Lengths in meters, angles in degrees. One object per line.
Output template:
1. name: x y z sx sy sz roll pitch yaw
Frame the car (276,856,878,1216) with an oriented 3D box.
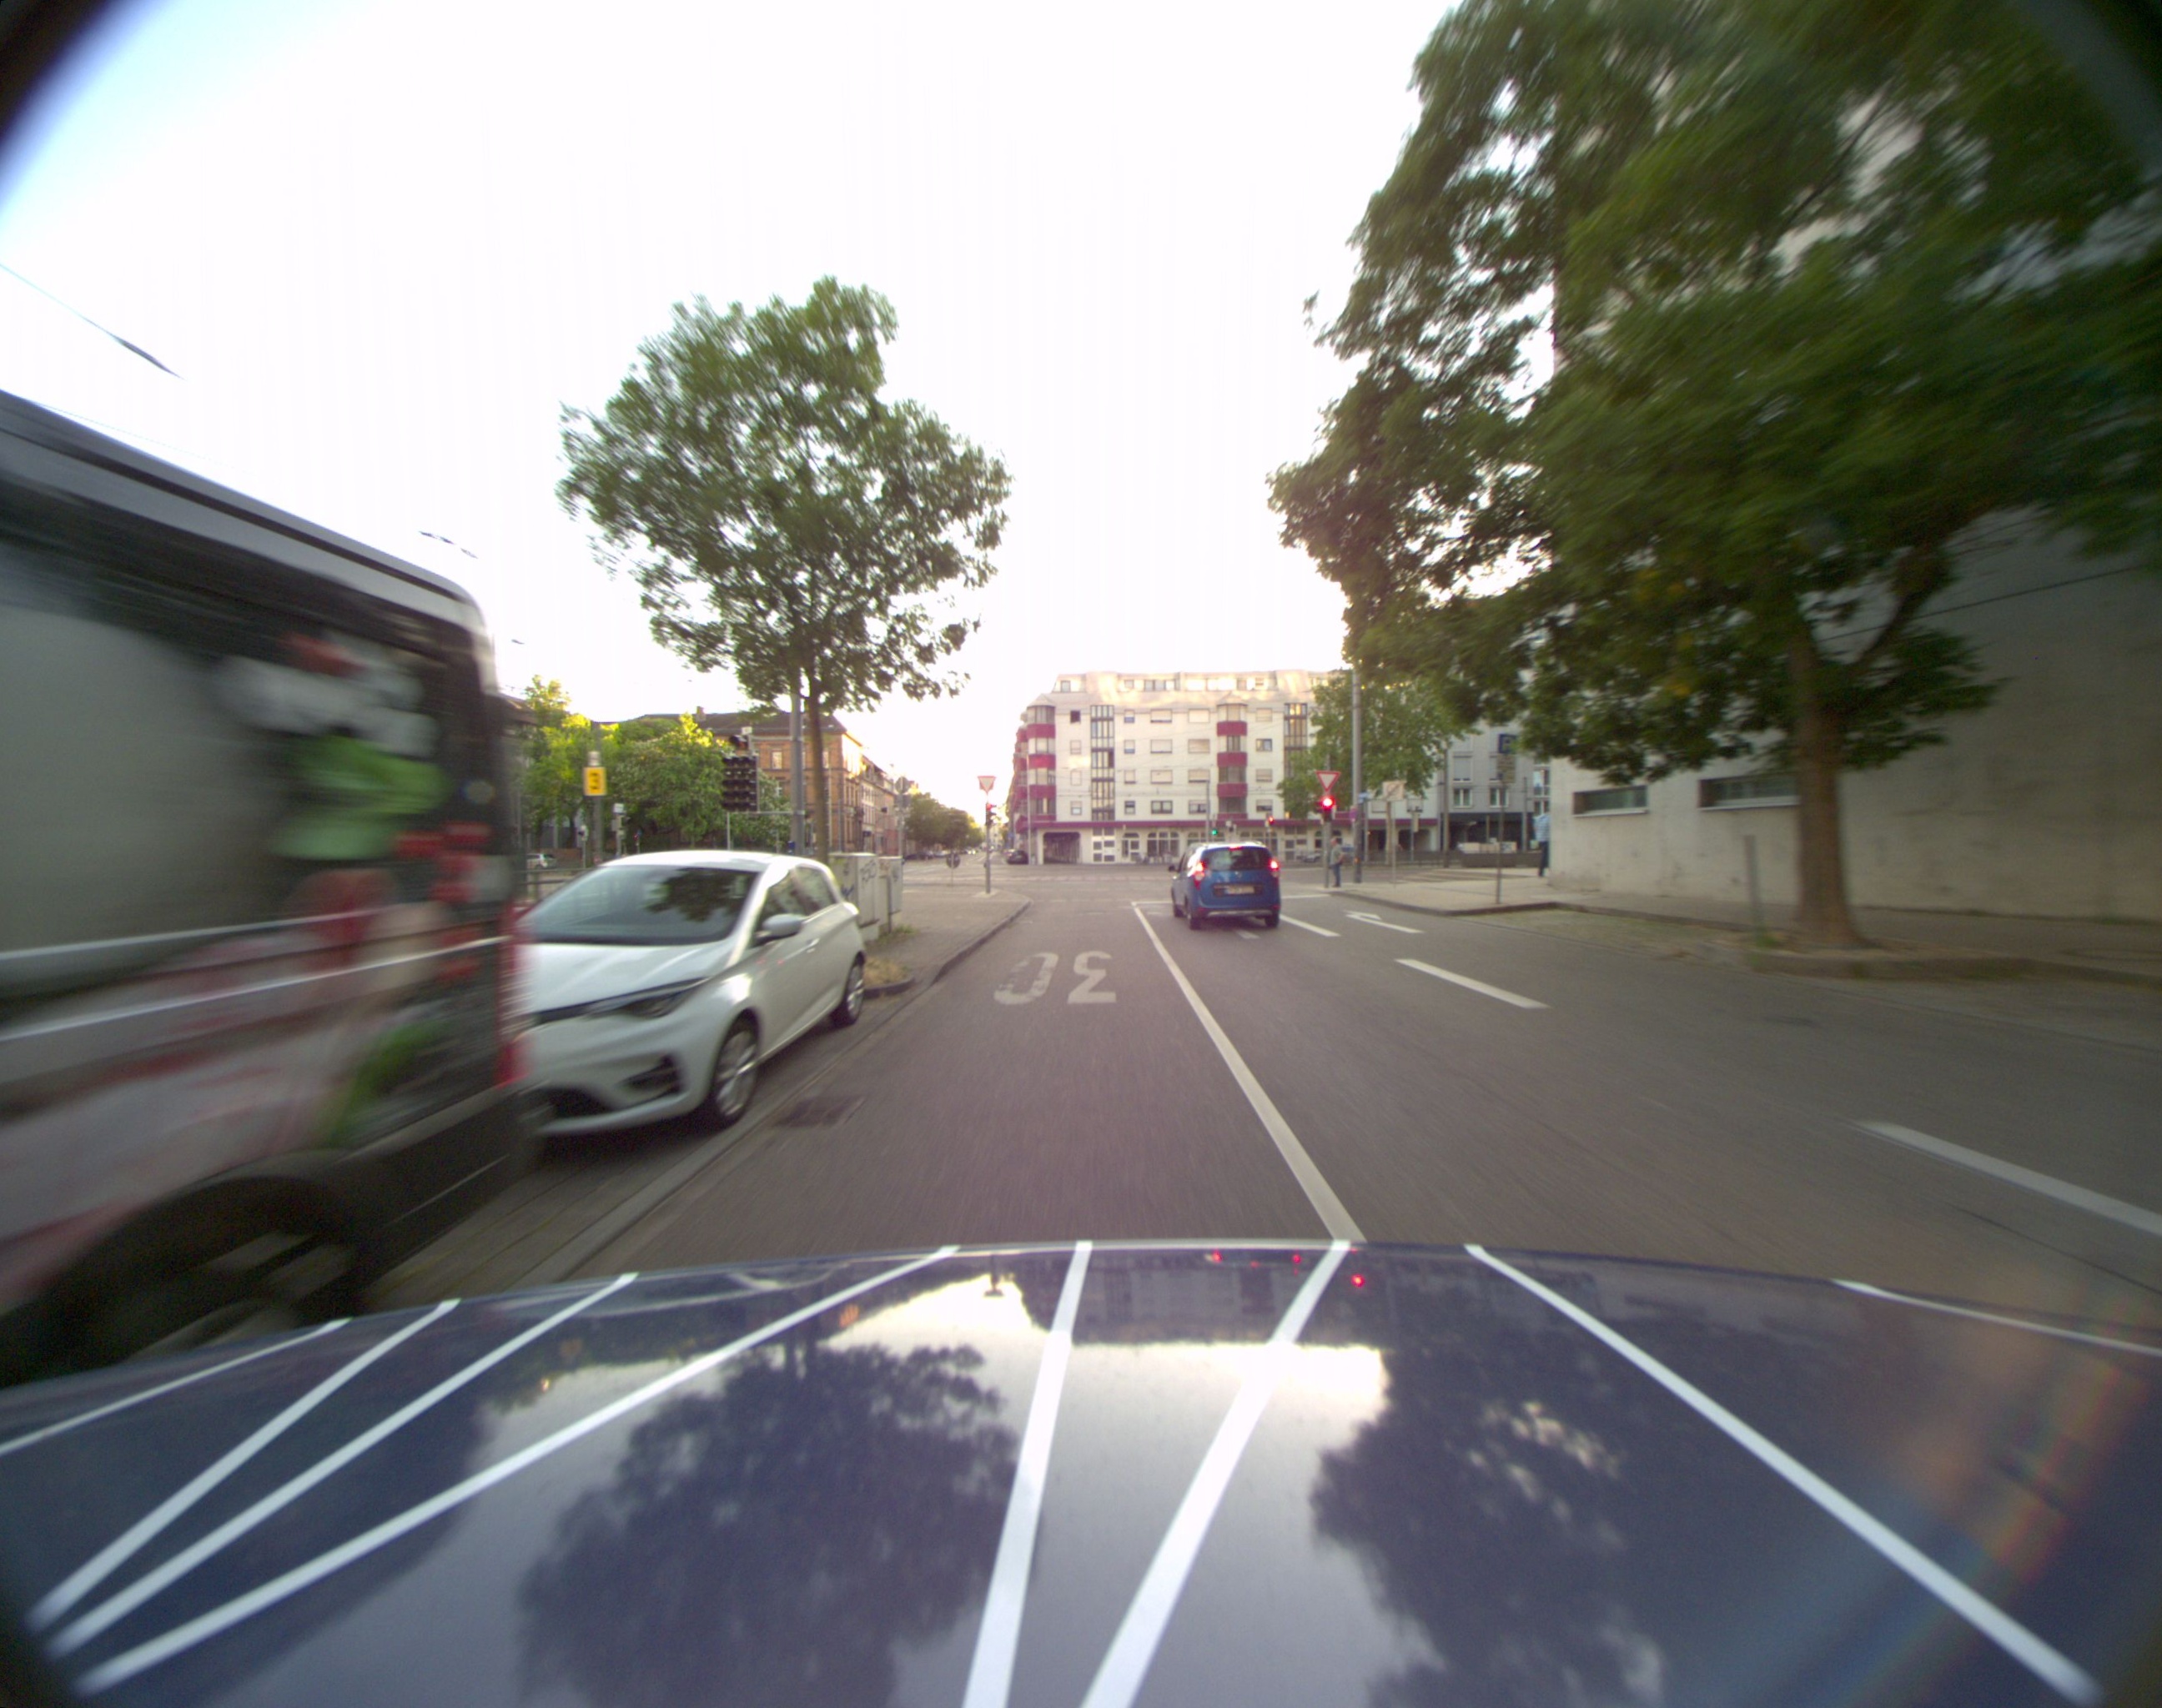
1. car: -2.871 0.861 5.534 1.752 1.574 4.012 2 1 -2

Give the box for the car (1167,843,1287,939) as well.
1. car: 2.855 0.646 15.736 1.752 1.668 4.273 -2 1 2

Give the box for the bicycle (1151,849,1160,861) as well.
1. bicycle: 6.457 0.110 65.821 0.515 1.040 1.902 -1 1 -2

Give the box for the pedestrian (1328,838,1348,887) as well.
1. pedestrian: 9.090 0.285 26.884 0.545 1.691 0.709 0 1 28

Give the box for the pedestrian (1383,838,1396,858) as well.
1. pedestrian: 27.068 -0.523 66.682 0.835 1.796 0.692 -1 1 3

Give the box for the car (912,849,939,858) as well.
1. car: -27.779 -0.148 135.692 4.706 1.477 1.905 -1 1 -10

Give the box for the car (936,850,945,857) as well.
1. car: -29.533 -0.144 159.957 1.787 1.448 4.293 -1 1 -10

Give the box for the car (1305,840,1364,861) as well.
1. car: 20.142 -0.305 60.461 4.098 1.587 1.666 0 1 1

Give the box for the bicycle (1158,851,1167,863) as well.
1. bicycle: 7.058 0.280 65.786 0.515 1.040 1.902 -1 1 -2

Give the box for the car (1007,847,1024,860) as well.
1. car: -7.552 -0.040 87.836 1.786 1.448 4.295 -1 1 -4

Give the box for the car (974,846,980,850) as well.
1. car: -33.295 -1.883 242.339 1.786 1.448 4.294 -1 1 -7

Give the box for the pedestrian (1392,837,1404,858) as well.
1. pedestrian: 28.051 -0.553 67.210 0.835 1.796 0.692 -1 1 3

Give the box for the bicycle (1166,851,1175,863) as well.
1. bicycle: 7.711 0.246 65.636 0.515 1.040 1.902 -1 1 -2

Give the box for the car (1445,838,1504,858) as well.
1. car: 32.909 -0.517 63.655 4.098 1.587 1.666 0 1 1

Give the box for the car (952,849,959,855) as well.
1. car: -33.916 -0.496 205.620 1.787 1.427 4.293 -1 1 -10

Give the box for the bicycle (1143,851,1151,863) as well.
1. bicycle: 5.697 0.246 65.753 0.515 1.040 1.902 -1 1 -2

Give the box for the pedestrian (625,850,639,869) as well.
1. pedestrian: -36.765 0.426 62.257 0.580 1.517 0.817 -1 1 5

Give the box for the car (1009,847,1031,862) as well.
1. car: -6.049 0.061 75.954 2.007 1.448 4.295 -1 1 -3

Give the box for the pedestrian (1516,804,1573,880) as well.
1. pedestrian: 12.182 -0.303 19.988 0.878 1.872 0.699 -8 1 -12

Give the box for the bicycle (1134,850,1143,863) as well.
1. bicycle: 4.964 0.201 65.732 0.515 1.040 1.902 -1 1 -2

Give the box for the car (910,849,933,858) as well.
1. car: -26.794 -0.161 127.767 3.775 1.477 1.905 -1 1 -10
